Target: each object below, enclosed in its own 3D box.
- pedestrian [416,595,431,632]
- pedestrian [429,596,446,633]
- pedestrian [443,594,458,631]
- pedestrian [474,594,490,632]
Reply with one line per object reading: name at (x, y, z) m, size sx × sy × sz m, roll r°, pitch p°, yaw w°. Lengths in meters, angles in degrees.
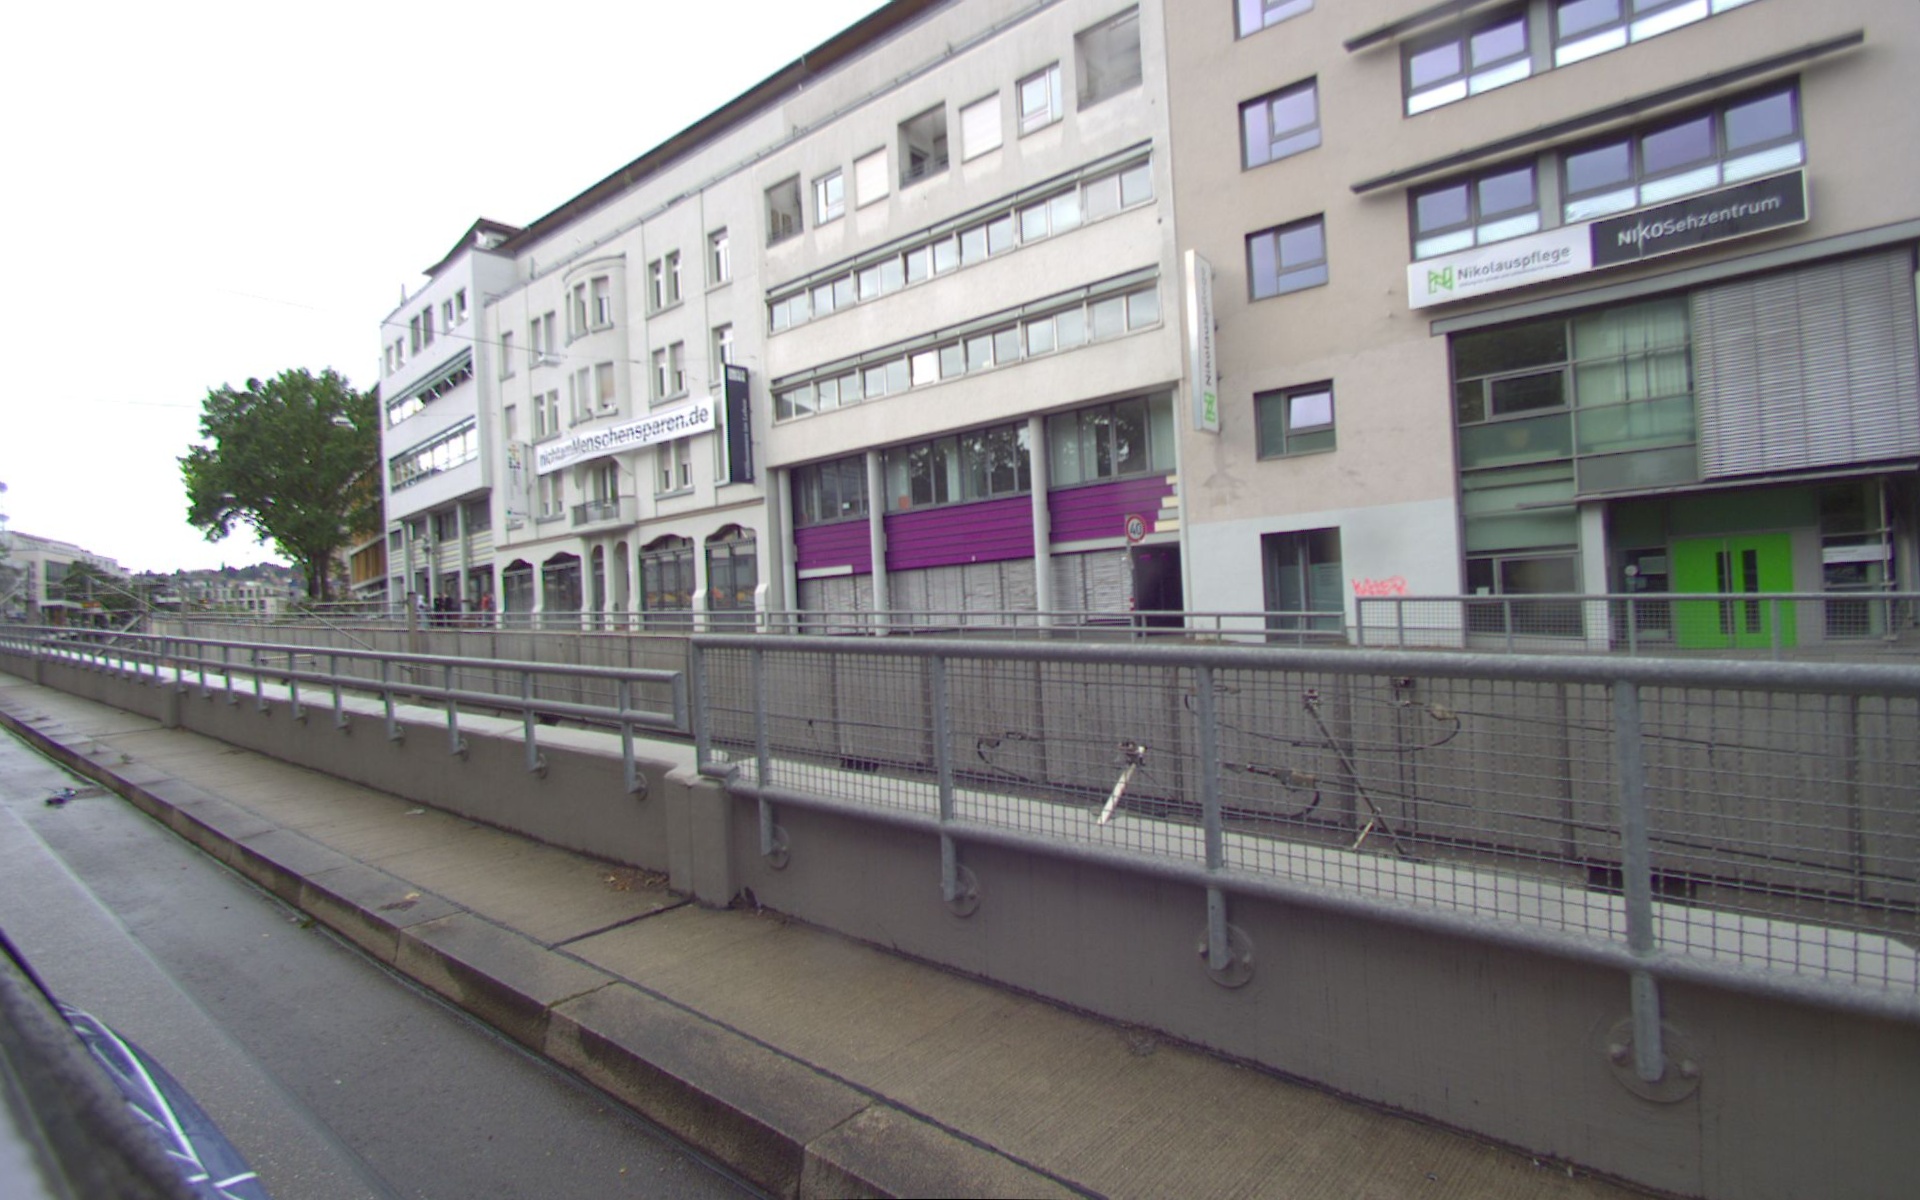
pedestrian at (-26.766, 0.678, 50.484) m, size 0.463 × 1.816 × 0.548 m, roll -3°, pitch 1°, yaw -42°
pedestrian at (-26.429, 0.733, 51.219) m, size 0.469 × 1.816 × 0.541 m, roll -2°, pitch 1°, yaw 33°
pedestrian at (-25.414, 0.633, 50.471) m, size 0.547 × 1.816 × 0.463 m, roll -2°, pitch 1°, yaw 44°
pedestrian at (-23.023, 0.635, 48.749) m, size 0.547 × 1.816 × 0.464 m, roll -1°, pitch 1°, yaw 40°
